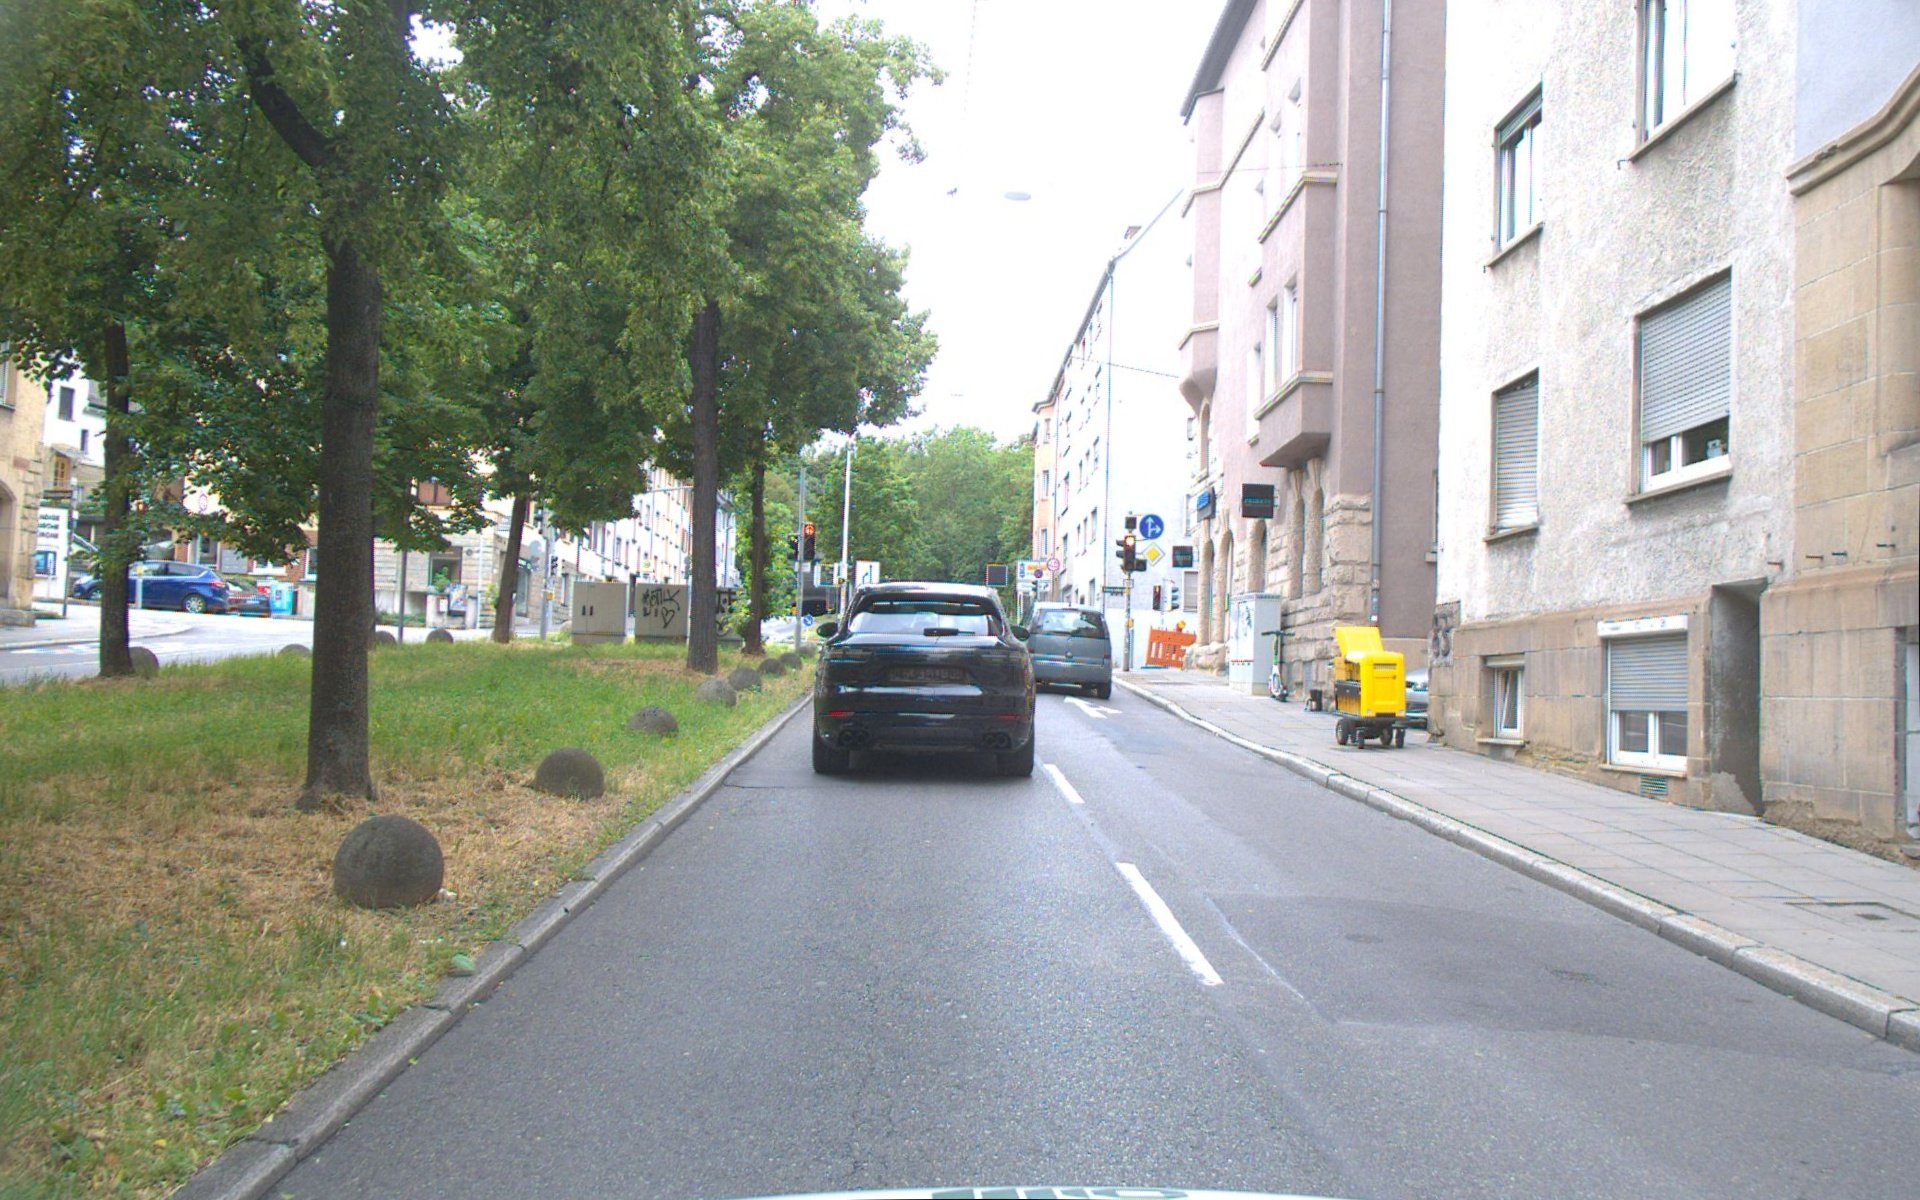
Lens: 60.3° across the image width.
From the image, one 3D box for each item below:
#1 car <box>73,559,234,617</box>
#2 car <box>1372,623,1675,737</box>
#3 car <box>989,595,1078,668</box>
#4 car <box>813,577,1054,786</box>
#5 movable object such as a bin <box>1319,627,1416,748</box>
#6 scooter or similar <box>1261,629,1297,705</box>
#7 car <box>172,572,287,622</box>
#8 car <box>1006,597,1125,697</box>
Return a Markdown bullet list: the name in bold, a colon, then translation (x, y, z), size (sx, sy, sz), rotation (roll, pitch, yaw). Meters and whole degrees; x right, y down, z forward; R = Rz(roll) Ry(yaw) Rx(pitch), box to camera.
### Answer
- **car**: translation (-24.548, -0.364, 50.494), size (4.141, 1.536, 1.790), rotation (3, 0, -19)
- **car**: translation (8.413, 1.173, 24.935), size (3.906, 1.427, 1.800), rotation (2, 2, -1)
- **car**: translation (1.747, 0.773, 40.755), size (1.954, 1.682, 3.999), rotation (1, -1, -1)
- **car**: translation (-0.234, 0.664, 15.609), size (1.954, 1.681, 4.000), rotation (1, 0, -1)
- **movable object such as a bin**: translation (5.087, 1.075, 20.759), size (0.705, 1.446, 1.692), rotation (1, -1, -3)
- **scooter or similar**: translation (5.445, 1.130, 28.267), size (0.392, 1.209, 1.355), rotation (1, 1, 3)
- **car**: translation (-26.430, -0.119, 59.803), size (3.915, 1.694, 1.877), rotation (1, -2, 32)
- **car**: translation (1.881, 0.814, 30.446), size (1.717, 1.621, 3.628), rotation (4, 0, -2)
